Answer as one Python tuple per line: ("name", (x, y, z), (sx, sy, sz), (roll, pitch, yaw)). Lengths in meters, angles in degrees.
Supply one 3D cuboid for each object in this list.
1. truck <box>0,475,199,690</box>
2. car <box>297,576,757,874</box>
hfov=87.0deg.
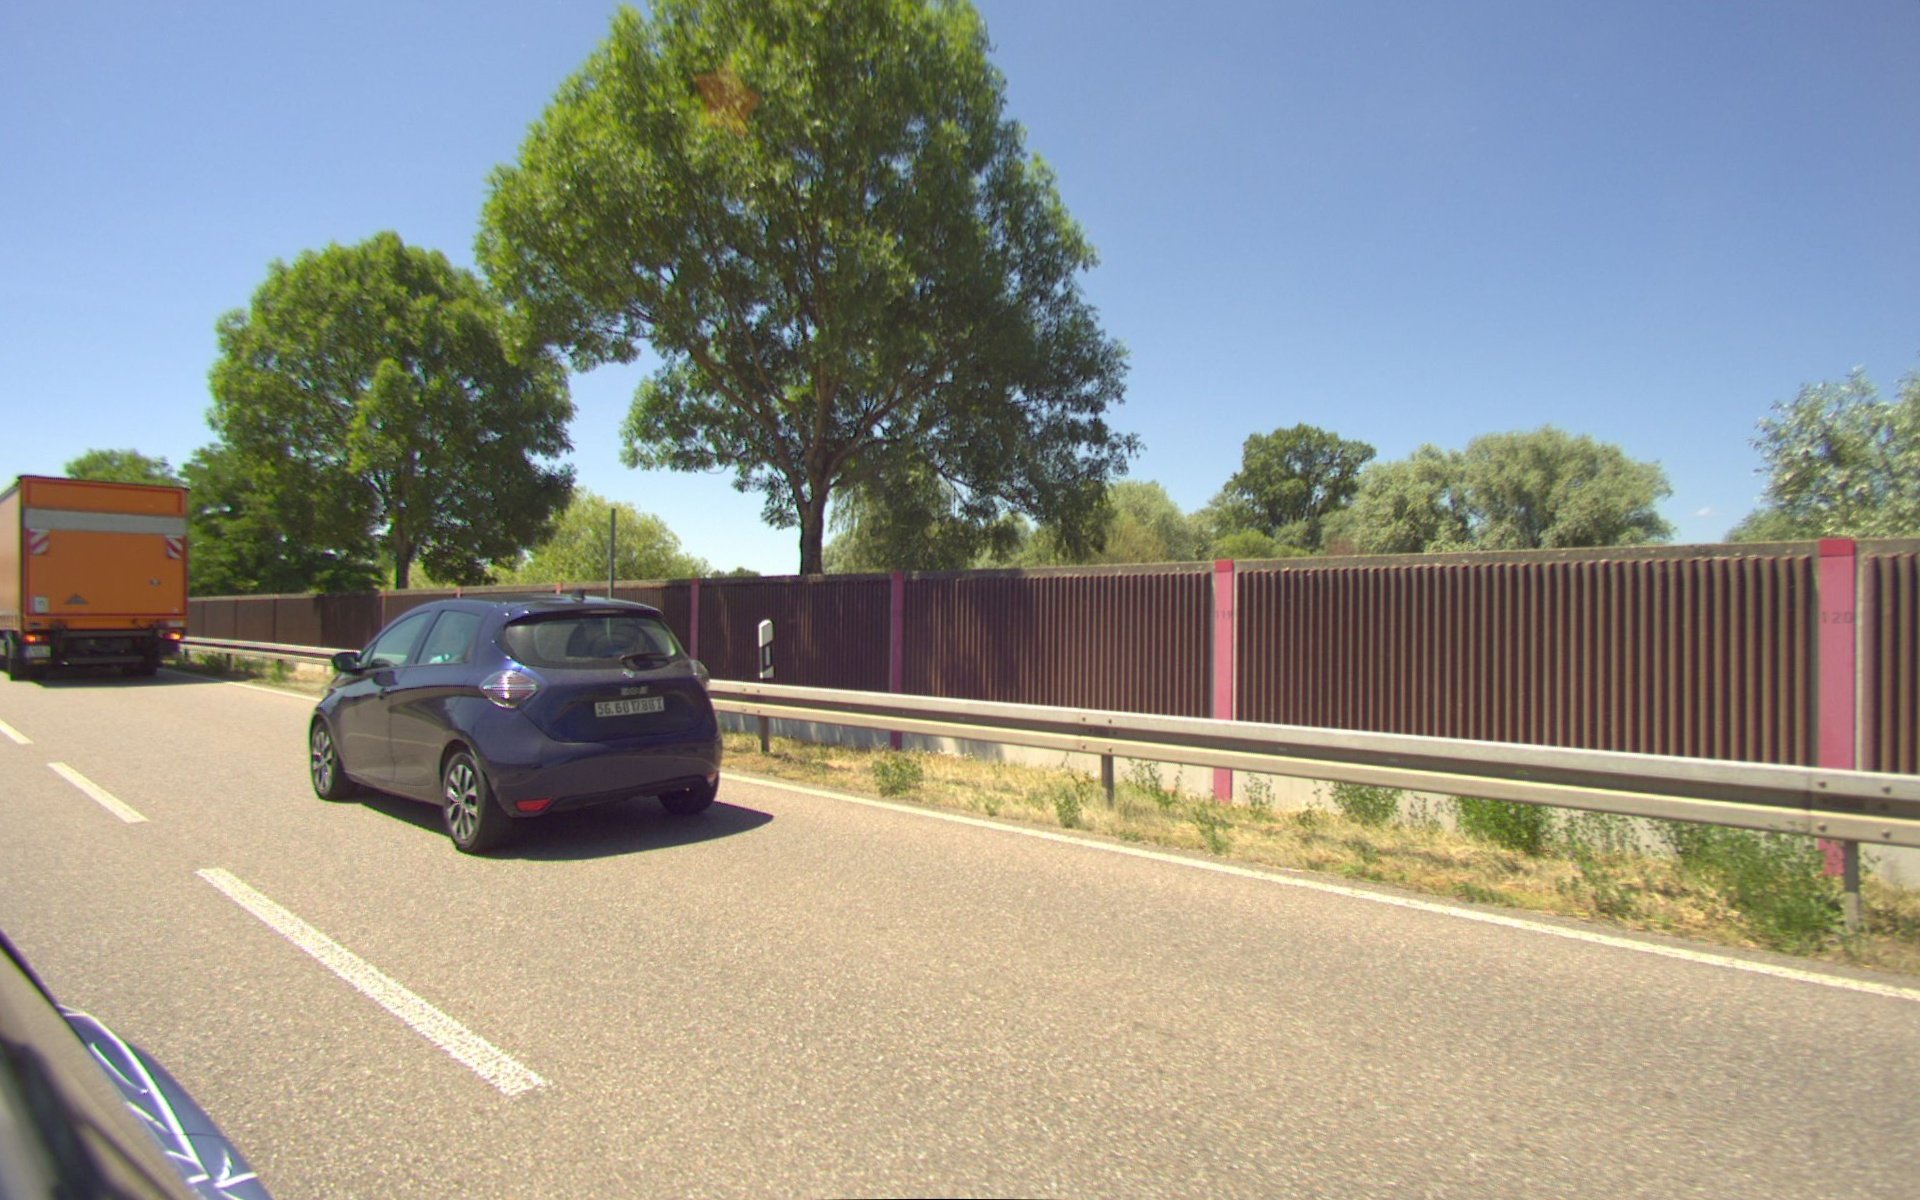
("truck", (-19.643, -0.307, 22.359), (9.321, 3.869, 2.762), (0, 0, 42))
("car", (-3.251, 0.711, 7.266), (3.762, 1.589, 1.605), (-1, -2, 42))
